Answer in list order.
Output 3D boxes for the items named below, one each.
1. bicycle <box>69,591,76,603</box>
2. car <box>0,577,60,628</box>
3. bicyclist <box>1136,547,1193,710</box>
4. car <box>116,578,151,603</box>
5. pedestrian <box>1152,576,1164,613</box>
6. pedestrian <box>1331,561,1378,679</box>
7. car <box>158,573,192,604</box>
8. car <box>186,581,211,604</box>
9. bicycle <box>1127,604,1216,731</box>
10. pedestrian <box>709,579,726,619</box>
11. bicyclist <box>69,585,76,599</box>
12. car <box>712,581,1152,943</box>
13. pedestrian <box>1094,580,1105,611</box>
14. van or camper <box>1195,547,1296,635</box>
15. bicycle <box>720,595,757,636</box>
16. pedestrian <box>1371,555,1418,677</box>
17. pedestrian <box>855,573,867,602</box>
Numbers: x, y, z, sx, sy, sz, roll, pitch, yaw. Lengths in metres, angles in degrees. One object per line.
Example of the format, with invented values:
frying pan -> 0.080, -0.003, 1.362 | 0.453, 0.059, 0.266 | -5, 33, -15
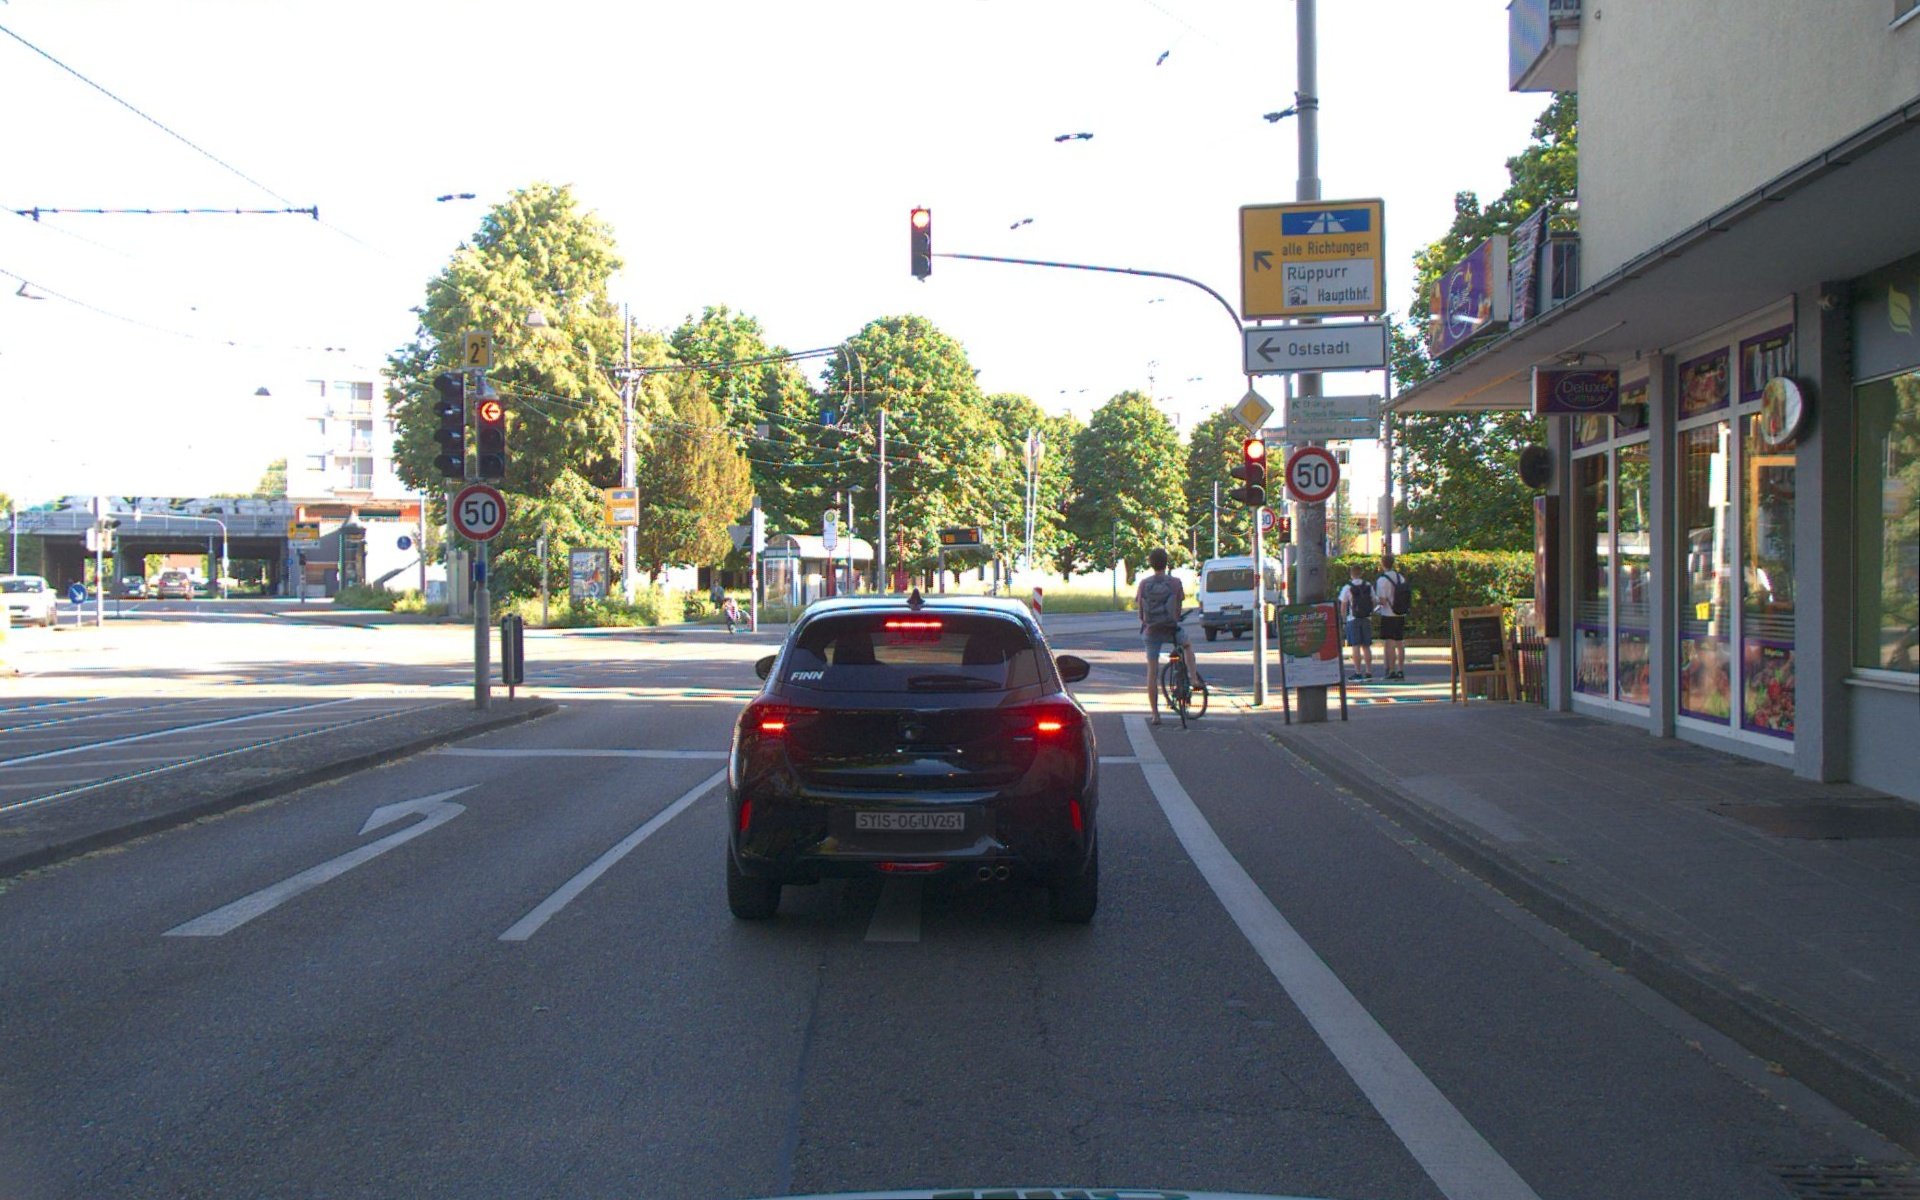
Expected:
bicycle -> -75.565, -0.292, 140.766 | 0.520, 0.999, 1.562 | 0, 1, -28
car -> -31.111, 0.073, 54.823 | 1.860, 1.613, 3.809 | 1, 0, -24
bicyclist -> 2.201, 0.300, 17.790 | 0.522, 1.722, 0.568 | 0, 0, 16
car -> -54.933, -0.613, 109.934 | 1.860, 1.613, 3.809 | 1, 0, -24
pedestrian -> 10.343, -0.294, 86.492 | 0.591, 1.904, 0.520 | 1, -1, 9
pedestrian -> 6.114, 0.307, 25.624 | 0.620, 1.794, 0.582 | 1, -1, 19
car -> -49.925, -0.727, 105.228 | 1.884, 1.914, 4.808 | -1, 1, -25
car -> -59.247, -0.565, 128.771 | 1.732, 1.713, 3.712 | 1, 0, -25
bicycle -> 2.308, 0.689, 17.876 | 0.737, 1.256, 2.017 | 0, 1, 14
pedestrian -> -9.134, -0.042, 62.372 | 0.558, 1.498, 0.665 | 0, 0, -1
bicyclist -> -75.584, -0.685, 140.788 | 0.520, 1.244, 0.525 | 0, 0, -29
car -> -0.141, 0.648, 8.796 | 1.803, 1.487, 3.983 | 0, 1, -1
pedestrian -> 8.421, -0.271, 100.024 | 0.591, 1.904, 0.520 | 1, -1, 7
van or camper -> 8.061, -0.227, 46.389 | 1.987, 2.351, 4.540 | 1, 0, 20
bicycle -> -6.161, 0.421, 46.116 | 0.780, 1.083, 2.184 | 0, 1, -1
pedestrian -> 6.706, 0.244, 25.509 | 0.620, 1.852, 0.745 | 1, -1, 19
pedestrian -> -6.399, -0.800, 106.528 | 0.723, 1.904, 0.661 | 1, -1, -7
